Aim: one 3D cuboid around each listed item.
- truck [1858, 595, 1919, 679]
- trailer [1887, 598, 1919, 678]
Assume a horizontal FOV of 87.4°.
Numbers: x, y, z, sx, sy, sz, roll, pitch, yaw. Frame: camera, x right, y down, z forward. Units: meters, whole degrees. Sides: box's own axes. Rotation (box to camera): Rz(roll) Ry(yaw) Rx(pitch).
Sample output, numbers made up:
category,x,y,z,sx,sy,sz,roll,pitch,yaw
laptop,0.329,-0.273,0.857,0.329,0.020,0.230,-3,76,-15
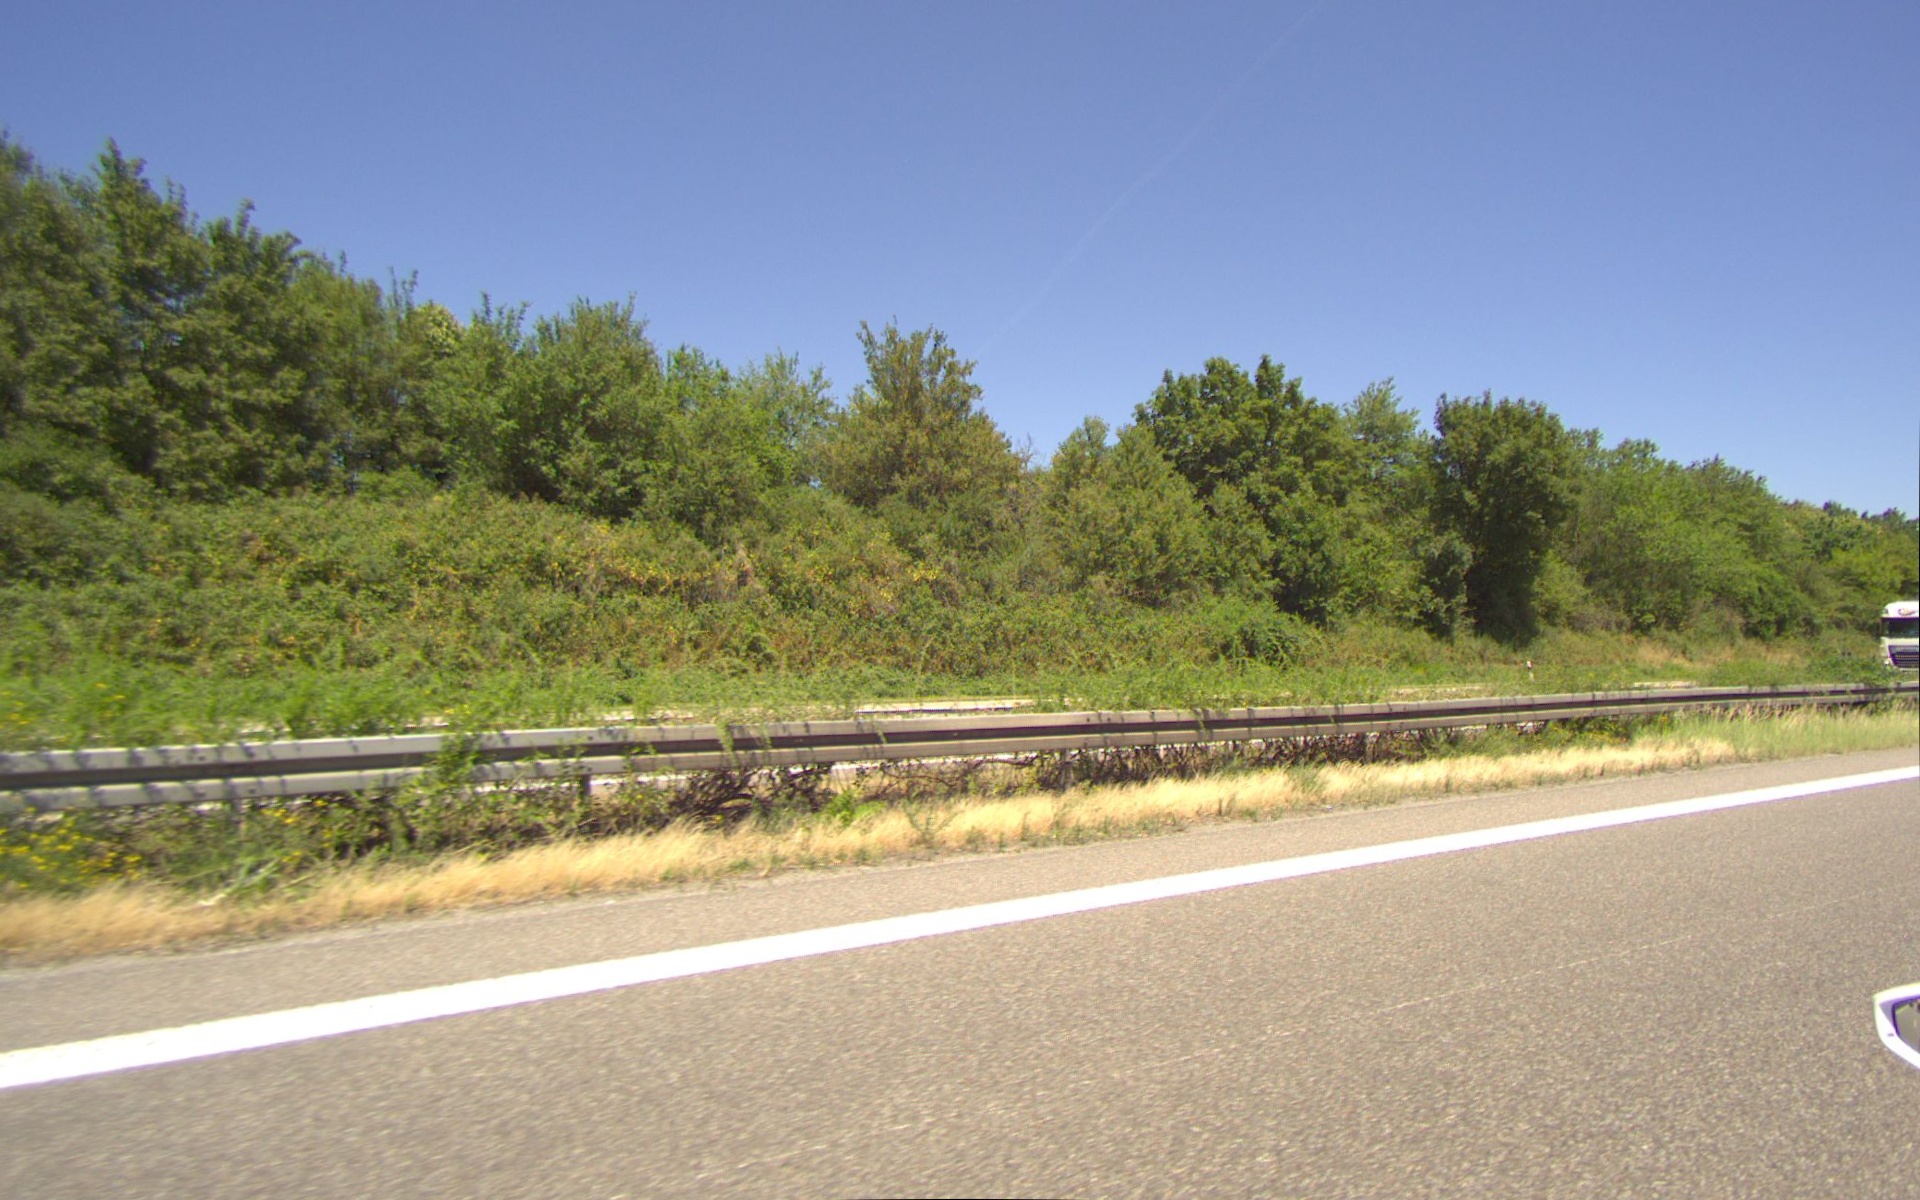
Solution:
category,x,y,z,sx,sy,sz,roll,pitch,yaw
truck,50.191,1.948,52.505,5.874,4.204,3.178,2,0,-30
trailer,56.493,2.198,56.187,12.836,4.246,3.160,2,0,-30
